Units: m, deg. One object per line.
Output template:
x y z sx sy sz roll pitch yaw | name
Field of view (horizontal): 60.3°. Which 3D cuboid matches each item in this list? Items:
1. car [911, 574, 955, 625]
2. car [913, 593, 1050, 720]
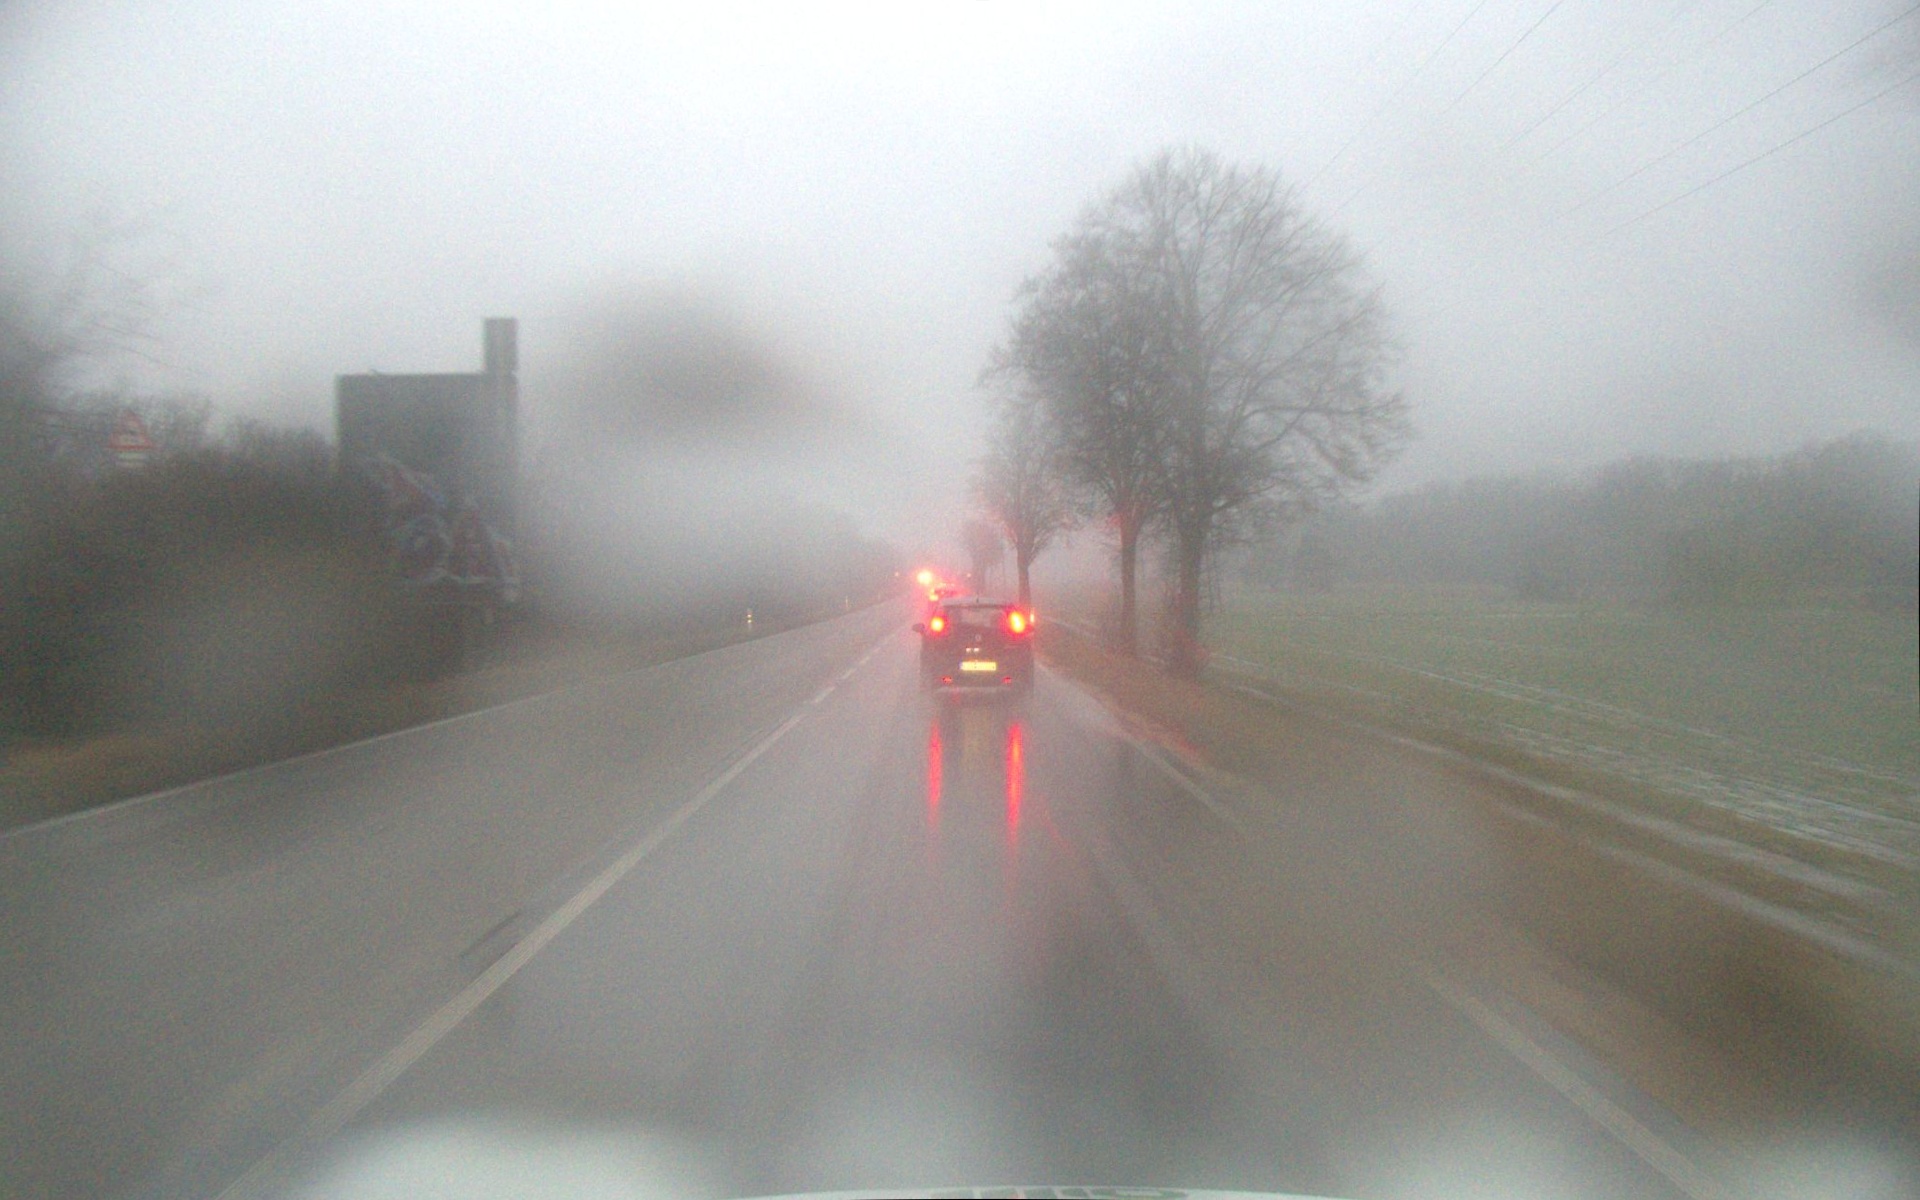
-1.308 -0.047 81.853 1.953 2.047 4.003 4 4 1 | car
0.295 0.795 25.614 1.953 1.782 4.000 0 1 0 | car
